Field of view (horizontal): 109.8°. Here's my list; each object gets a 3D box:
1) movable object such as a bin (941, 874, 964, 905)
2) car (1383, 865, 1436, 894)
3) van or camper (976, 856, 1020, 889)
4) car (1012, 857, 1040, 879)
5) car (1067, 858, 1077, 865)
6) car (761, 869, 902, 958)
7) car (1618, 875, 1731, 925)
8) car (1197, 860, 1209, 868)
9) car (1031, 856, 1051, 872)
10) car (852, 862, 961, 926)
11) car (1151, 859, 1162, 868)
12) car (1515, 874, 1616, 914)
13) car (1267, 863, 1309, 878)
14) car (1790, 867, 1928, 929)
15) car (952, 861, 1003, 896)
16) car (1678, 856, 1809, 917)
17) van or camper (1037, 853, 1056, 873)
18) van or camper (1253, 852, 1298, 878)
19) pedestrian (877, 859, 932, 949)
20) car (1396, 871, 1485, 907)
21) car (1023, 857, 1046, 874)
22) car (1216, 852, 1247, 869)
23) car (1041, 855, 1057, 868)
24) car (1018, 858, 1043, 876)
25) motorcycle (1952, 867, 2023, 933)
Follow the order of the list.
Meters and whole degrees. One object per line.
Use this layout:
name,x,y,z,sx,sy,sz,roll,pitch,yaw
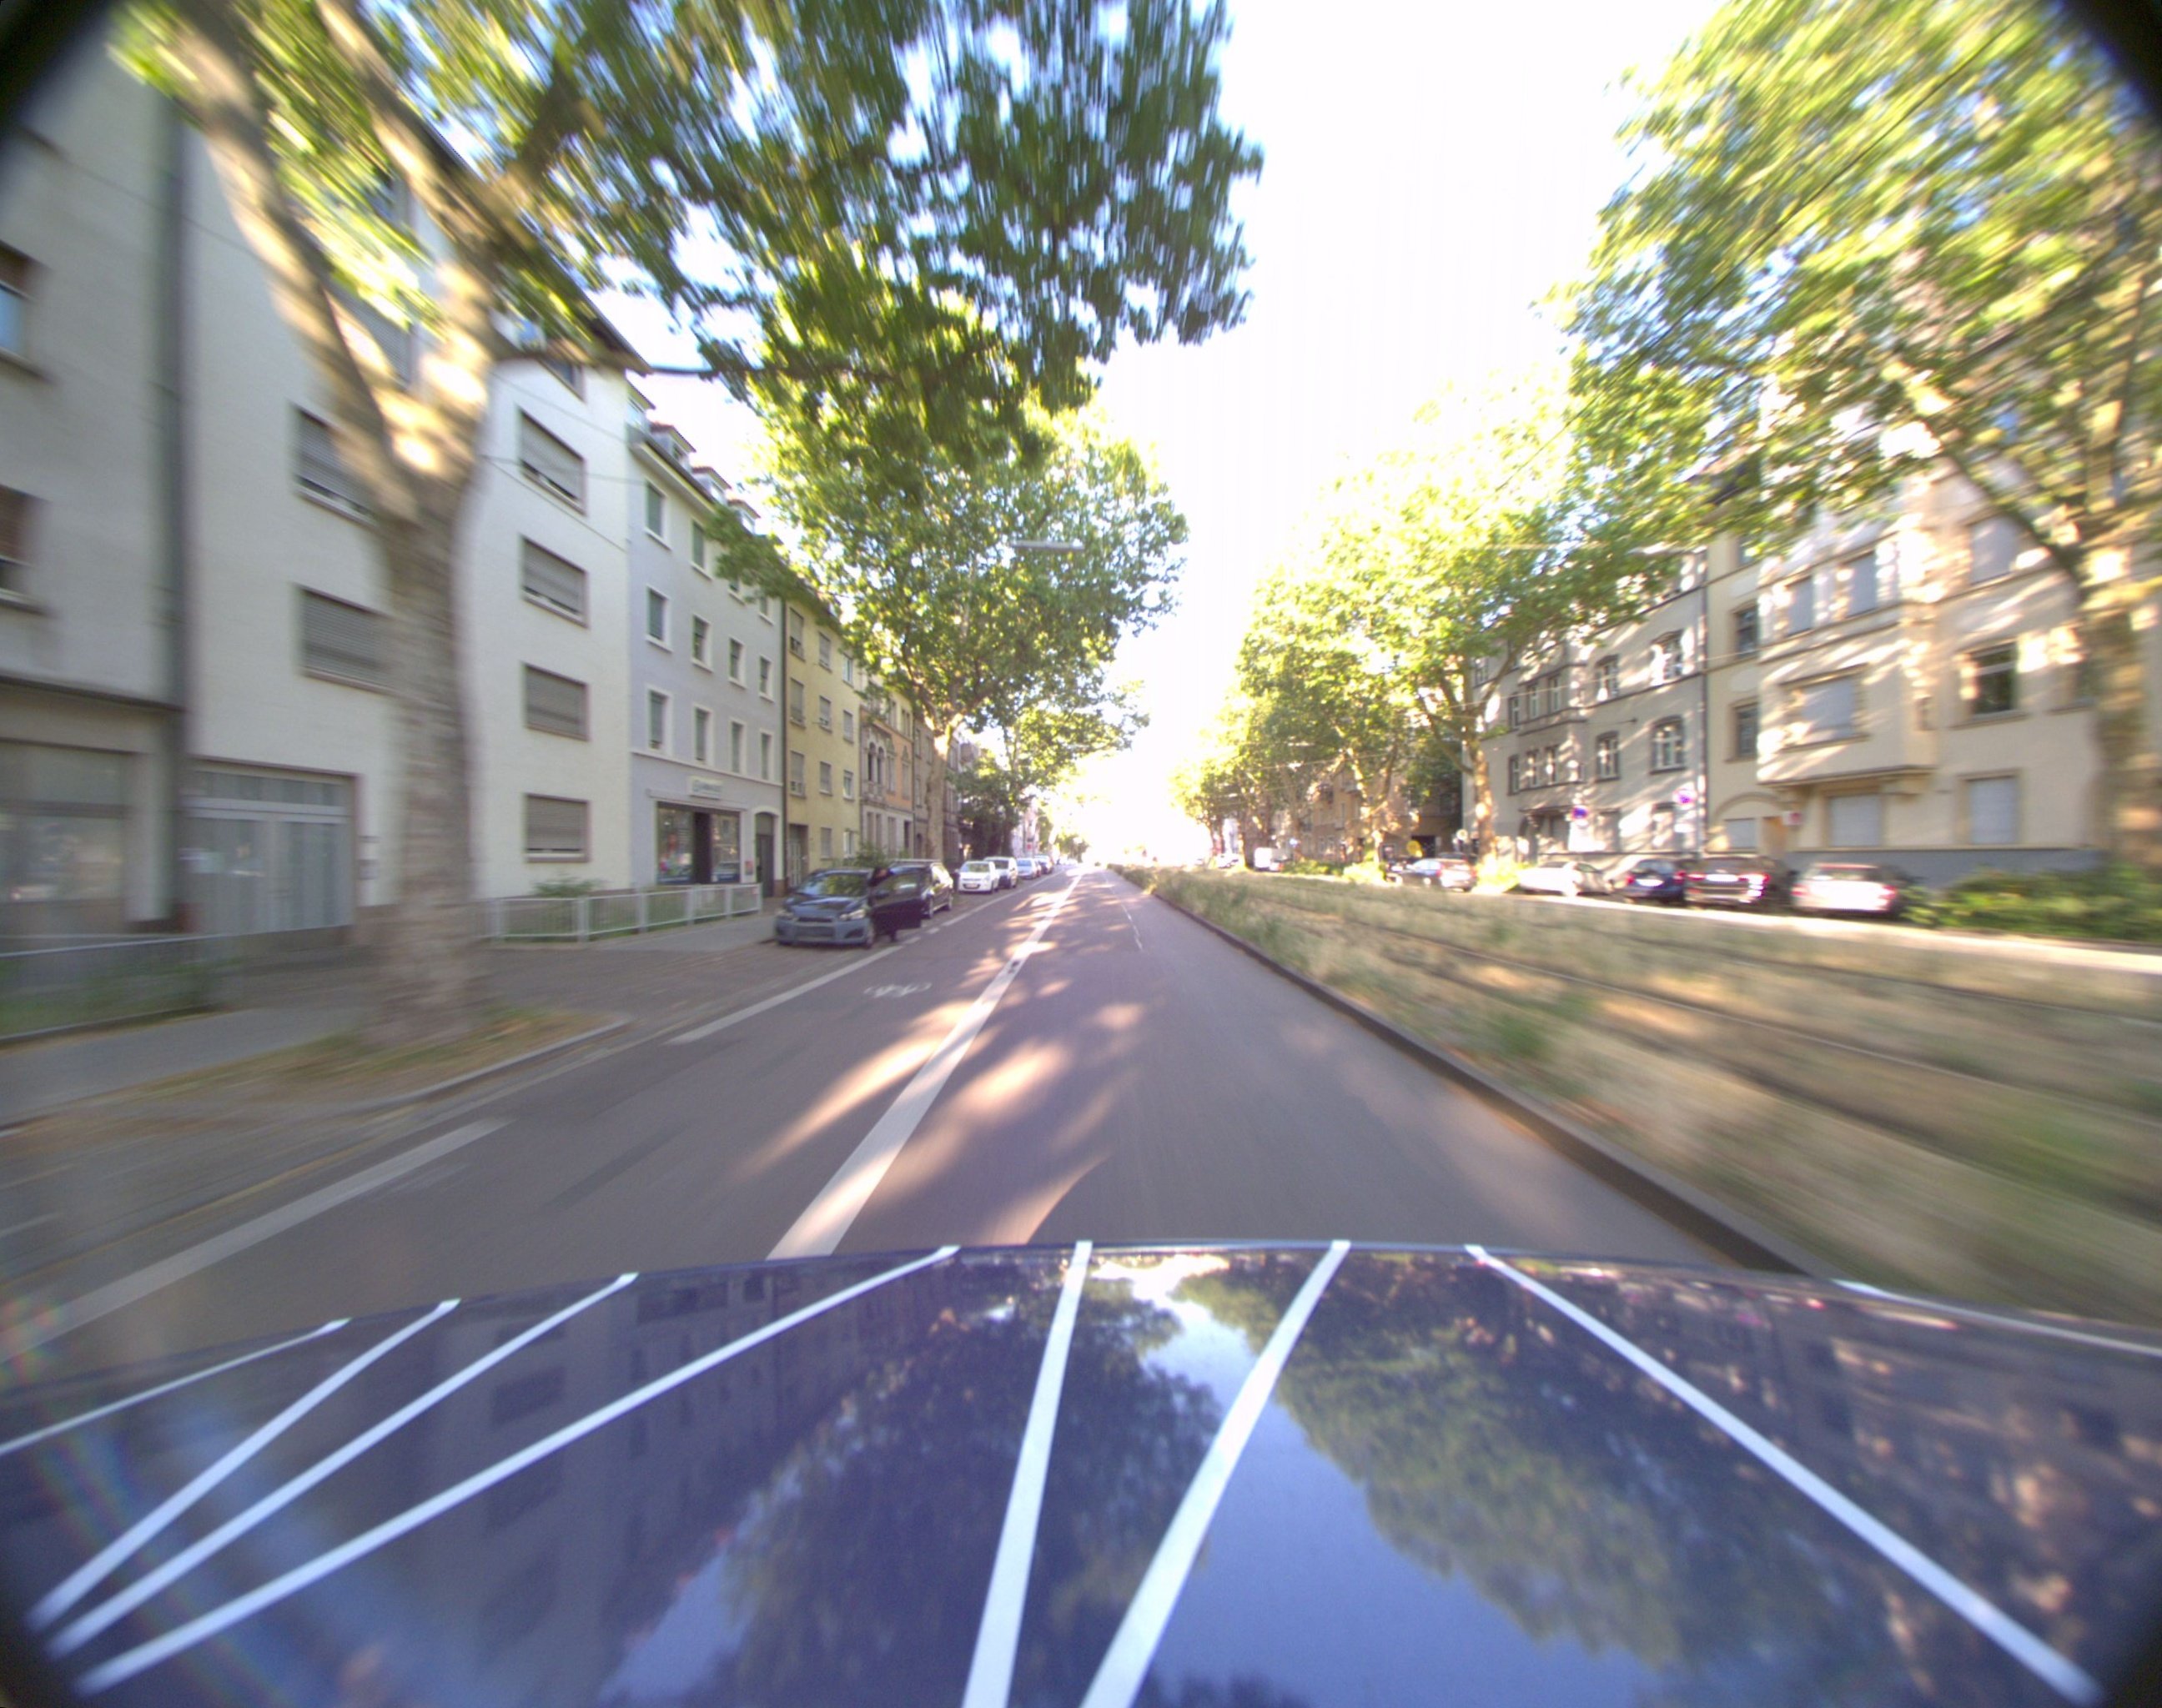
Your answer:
movable object such as a bin,-4.799,1.311,28.419,0.683,1.109,0.670,-3,1,2
car,19.844,1.498,45.843,1.726,1.643,4.009,-1,-1,41
van or camper,-4.474,0.969,41.608,1.790,1.710,4.380,1,0,2
car,-4.213,1.017,58.631,1.790,1.609,3.829,1,0,1
car,-2.091,1.752,177.876,1.893,1.501,4.000,-3,0,2
car,-4.862,1.084,15.390,1.748,1.455,4.024,-1,0,-4
car,19.831,1.491,25.346,4.008,1.524,1.821,1,-1,-34
car,24.215,2.054,151.064,1.998,1.412,4.001,-3,0,3
car,-3.982,0.967,75.995,1.790,1.585,4.013,1,0,0
car,-4.930,1.061,22.170,1.998,1.557,4.664,1,0,1
car,14.740,1.847,148.237,1.997,1.477,4.002,-3,0,9
car,18.979,1.518,29.778,3.686,1.382,1.822,-1,0,-30
car,20.621,1.664,75.682,4.006,1.240,1.726,-4,1,-33
car,19.185,0.997,18.692,4.014,1.349,1.797,1,-1,-36
car,-4.734,1.095,35.313,1.702,1.517,4.195,0,0,1
car,19.196,0.914,21.981,4.169,1.583,1.932,2,-1,-35
van or camper,-3.743,0.950,82.728,1.790,2.172,4.732,1,0,1
van or camper,20.059,1.152,78.175,4.371,2.386,2.196,-4,1,-39
pedestrian,-3.575,1.003,15.396,0.755,1.740,0.679,-2,1,42
car,15.809,1.497,33.689,1.825,1.381,4.484,1,0,0
car,-4.138,1.009,68.705,1.790,1.458,3.570,1,0,1
car,20.466,0.889,103.244,4.007,2.002,1.995,-3,1,-41
car,-4.496,1.066,107.951,1.998,1.820,4.000,0,0,1
car,-4.210,1.103,63.938,1.790,1.458,3.570,1,0,1
motorcycle,23.167,1.119,19.394,3.136,1.472,0.870,-2,0,-35
